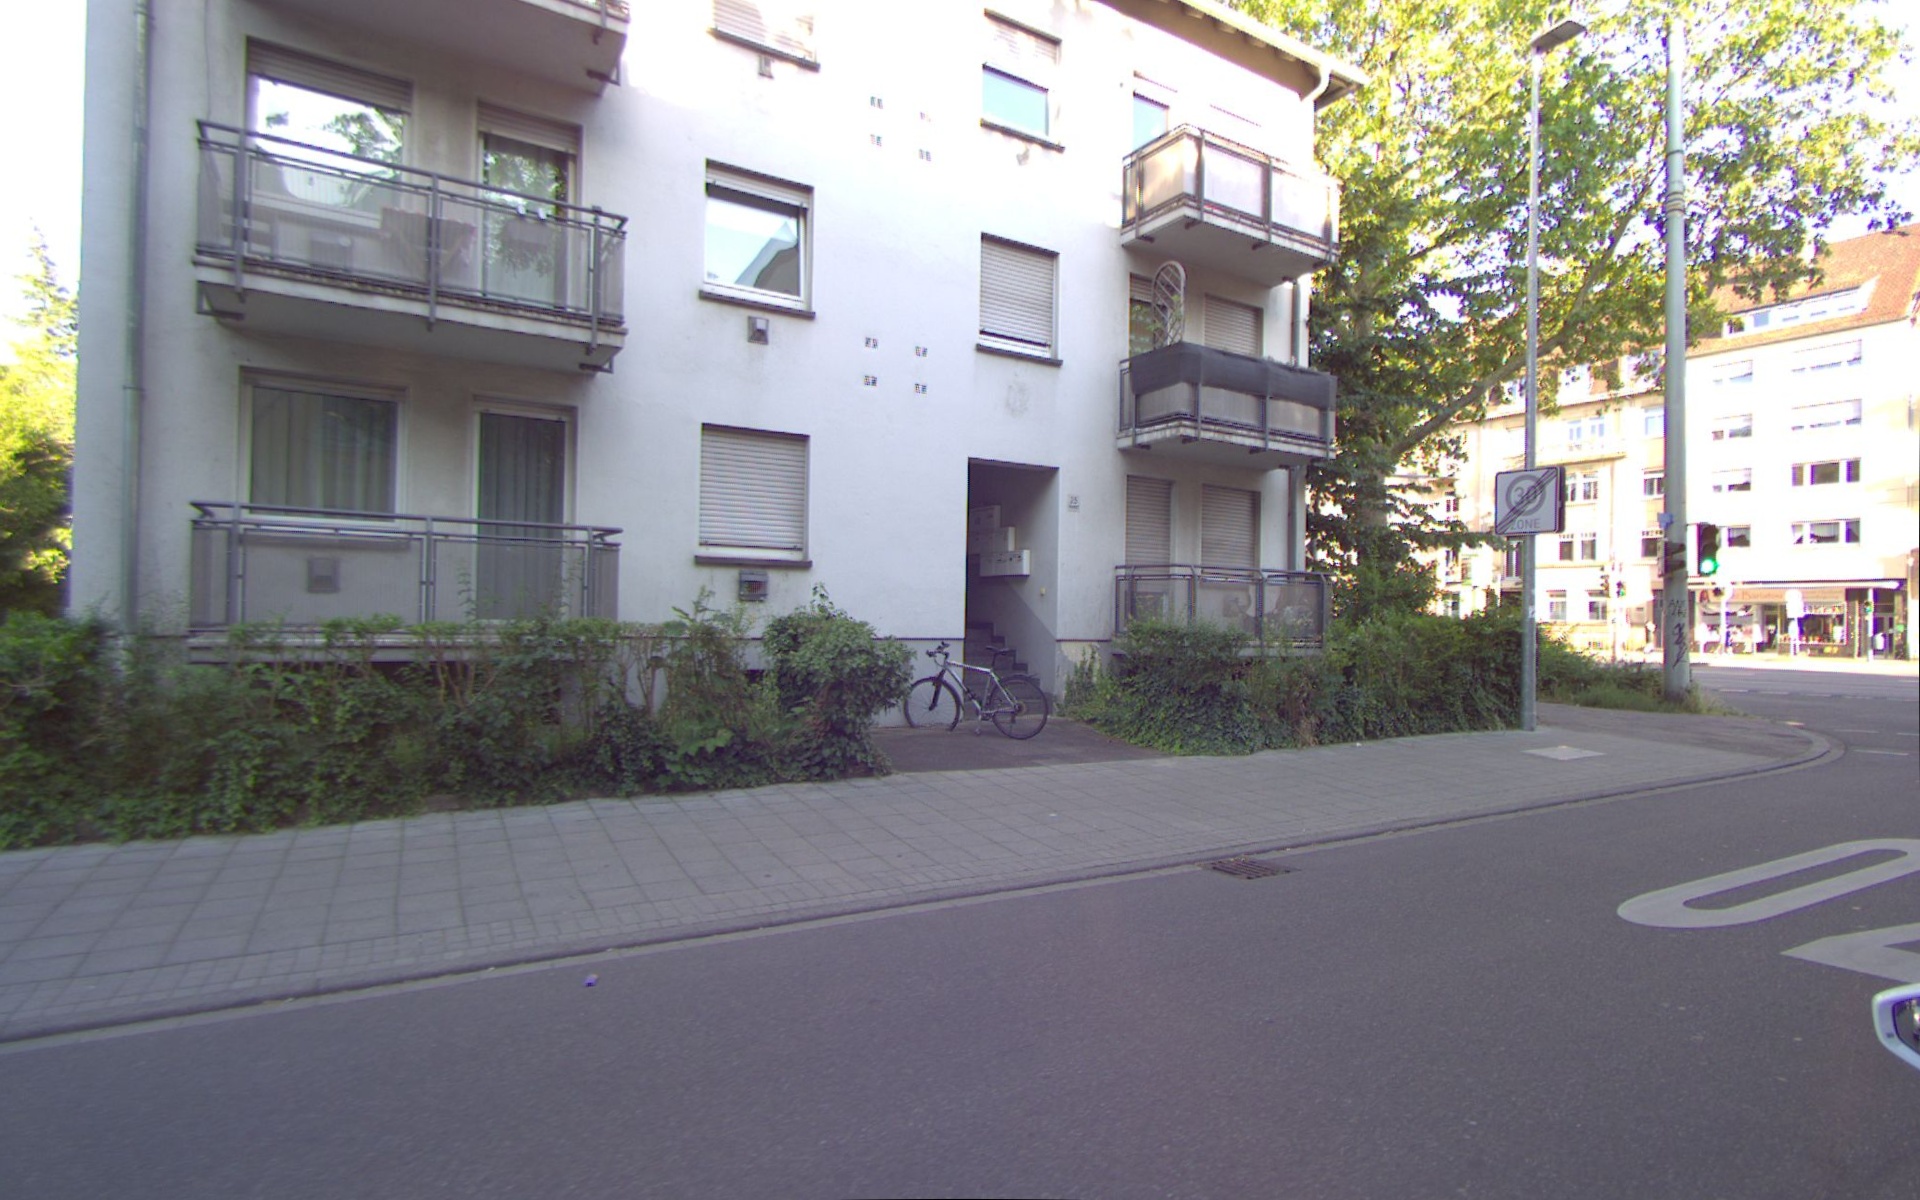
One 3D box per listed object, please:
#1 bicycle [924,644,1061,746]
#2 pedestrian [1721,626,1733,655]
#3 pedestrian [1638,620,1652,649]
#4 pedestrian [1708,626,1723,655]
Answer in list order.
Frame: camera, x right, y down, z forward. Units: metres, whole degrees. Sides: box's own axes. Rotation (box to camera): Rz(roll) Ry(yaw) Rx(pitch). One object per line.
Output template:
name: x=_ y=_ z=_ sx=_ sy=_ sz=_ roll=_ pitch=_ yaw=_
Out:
bicycle: x=0.353 y=1.038 z=11.207 sx=1.434 sy=0.988 sz=0.407 roll=3 pitch=0 yaw=22
pedestrian: x=40.264 y=2.129 z=52.744 sx=0.467 sy=1.531 sz=0.428 roll=0 pitch=-1 yaw=42
pedestrian: x=37.644 y=1.889 z=55.185 sx=0.559 sy=1.531 sz=0.499 roll=0 pitch=-1 yaw=43
pedestrian: x=40.175 y=2.134 z=53.414 sx=0.531 sy=1.531 sz=0.505 roll=1 pitch=-1 yaw=-34
